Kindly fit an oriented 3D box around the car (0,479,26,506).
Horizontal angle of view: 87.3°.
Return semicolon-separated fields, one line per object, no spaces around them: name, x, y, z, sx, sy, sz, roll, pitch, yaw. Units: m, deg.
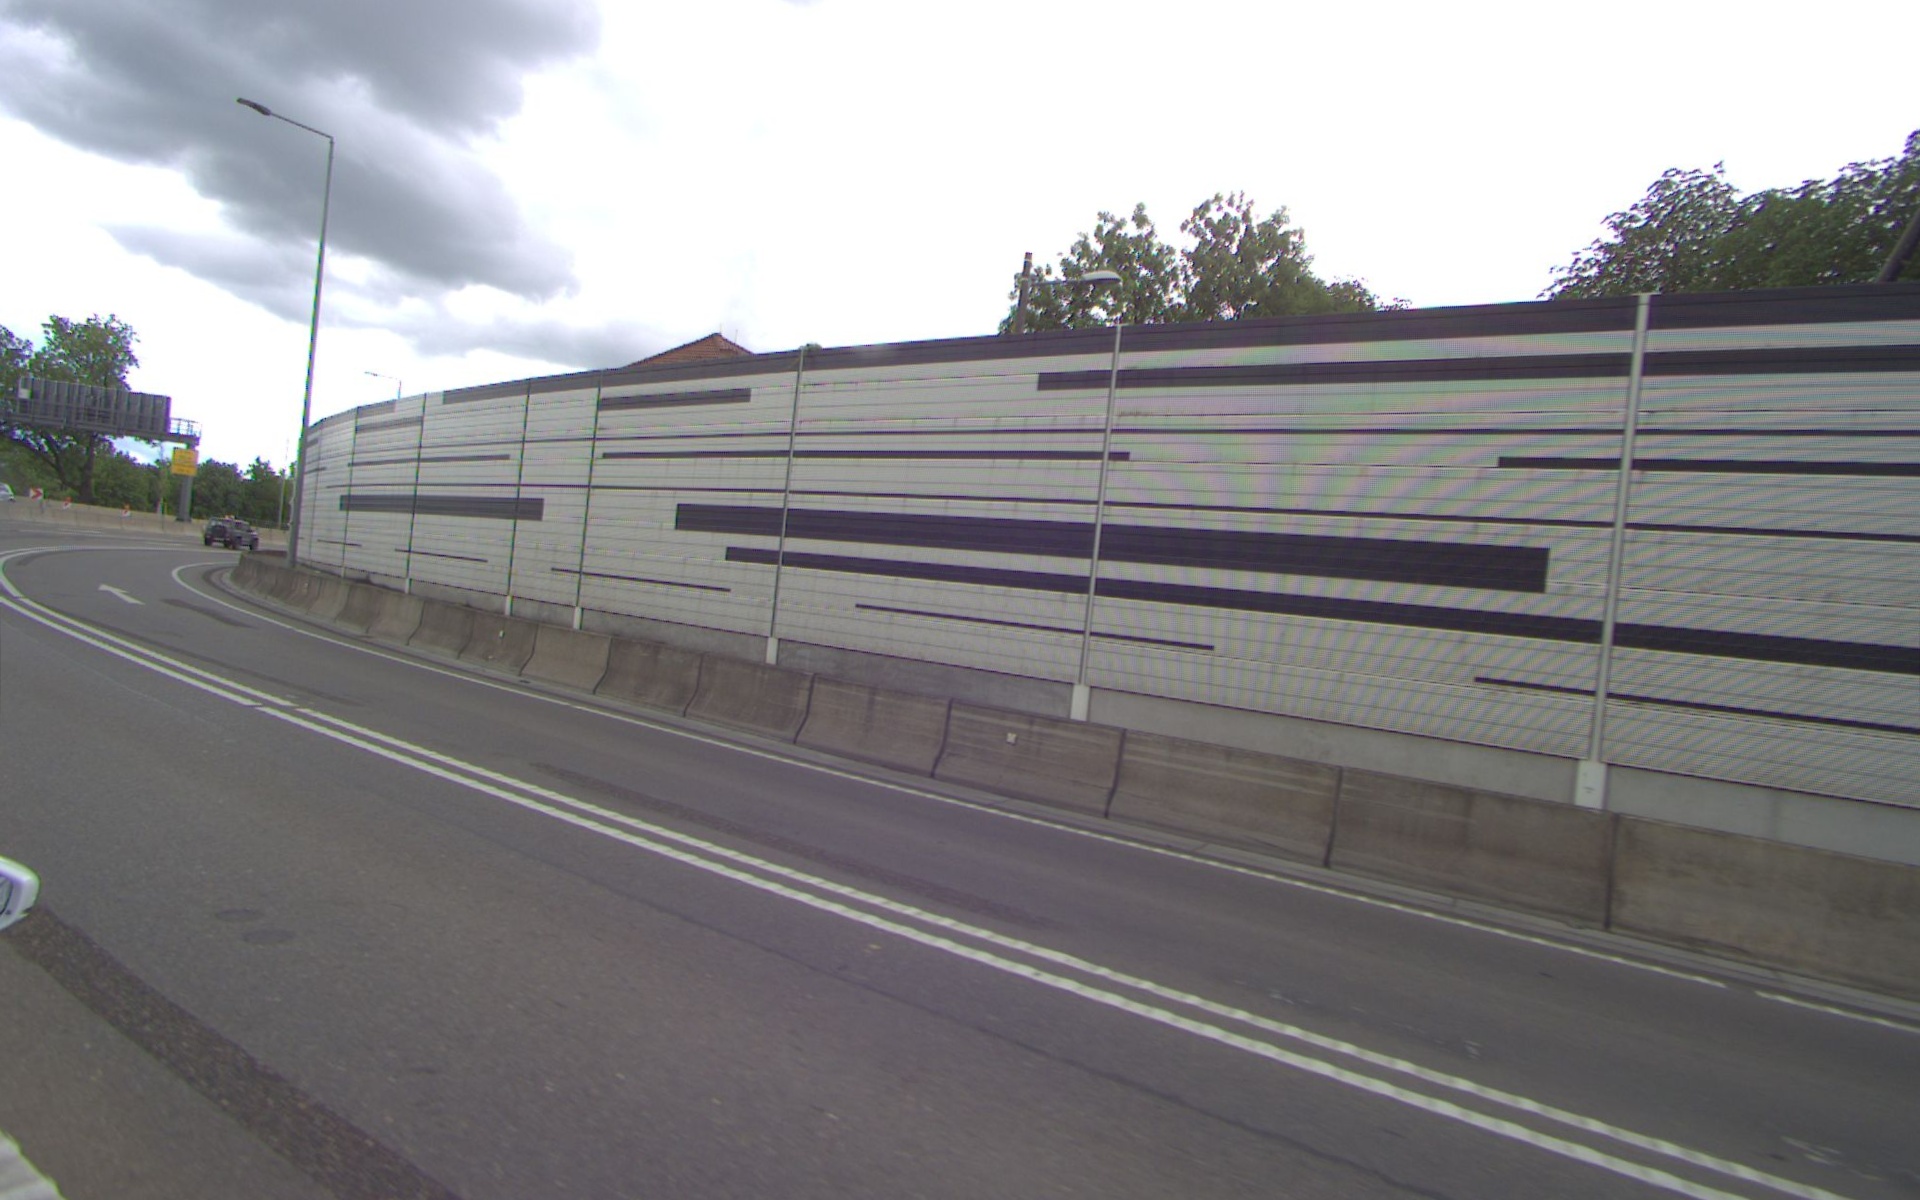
car;-60.578;-6.903;62.928;1.603;1.493;2.937;8;-1;-9

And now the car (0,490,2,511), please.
car;-38.740;-3.722;38.502;1.906;1.507;4.035;8;-1;-29

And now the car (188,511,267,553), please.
car;-42.783;-3.932;58.877;1.967;1.882;3.994;7;-1;-10

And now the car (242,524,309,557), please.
car;-47.022;-4.092;69.202;1.966;1.692;3.996;9;-1;-7
